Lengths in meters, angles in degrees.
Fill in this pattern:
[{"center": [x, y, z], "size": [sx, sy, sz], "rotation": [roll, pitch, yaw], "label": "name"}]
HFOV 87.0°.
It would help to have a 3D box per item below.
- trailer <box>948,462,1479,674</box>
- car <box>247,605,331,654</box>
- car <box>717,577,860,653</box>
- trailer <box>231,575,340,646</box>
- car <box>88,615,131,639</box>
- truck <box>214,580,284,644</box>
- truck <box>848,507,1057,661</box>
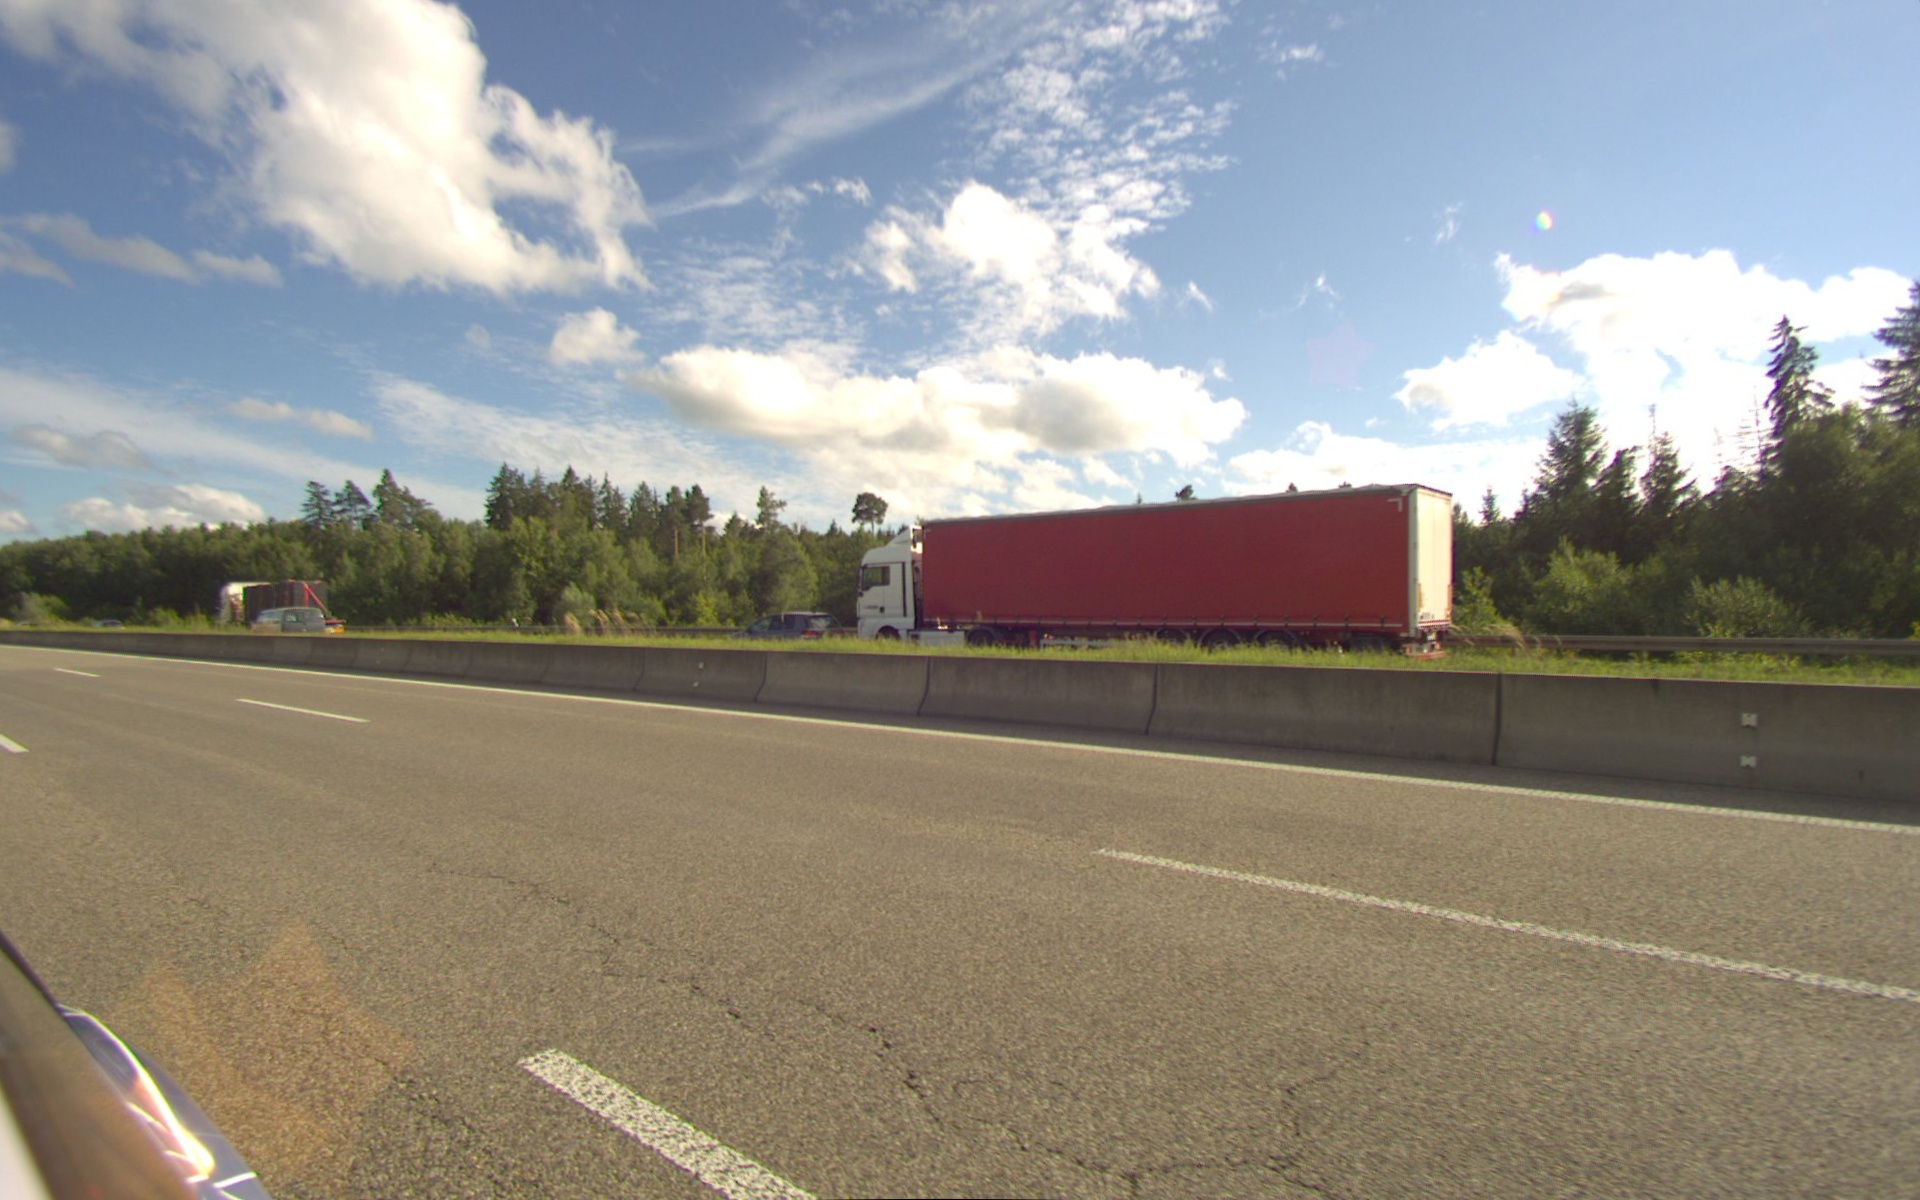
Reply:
[{"center": [5.461, -0.524, 25.075], "size": [12.785, 4.140, 2.990], "rotation": [-1, -1, 41], "label": "trailer"}, {"center": [-29.633, 1.264, 44.647], "size": [4.350, 2.029, 1.973], "rotation": [-1, -1, 41], "label": "car"}, {"center": [-4.986, 0.424, 29.129], "size": [3.998, 2.029, 1.973], "rotation": [-1, -1, 41], "label": "car"}, {"center": [-45.646, 0.760, 68.229], "size": [12.038, 4.425, 2.774], "rotation": [-1, -1, 40], "label": "trailer"}, {"center": [-68.720, 2.182, 81.742], "size": [3.997, 1.816, 1.973], "rotation": [-1, -1, 40], "label": "car"}, {"center": [-51.146, 0.905, 72.776], "size": [5.459, 4.425, 2.774], "rotation": [-1, -1, 39], "label": "truck"}, {"center": [-0.302, -0.398, 30.166], "size": [5.666, 4.140, 2.993], "rotation": [-1, -1, 41], "label": "truck"}]
